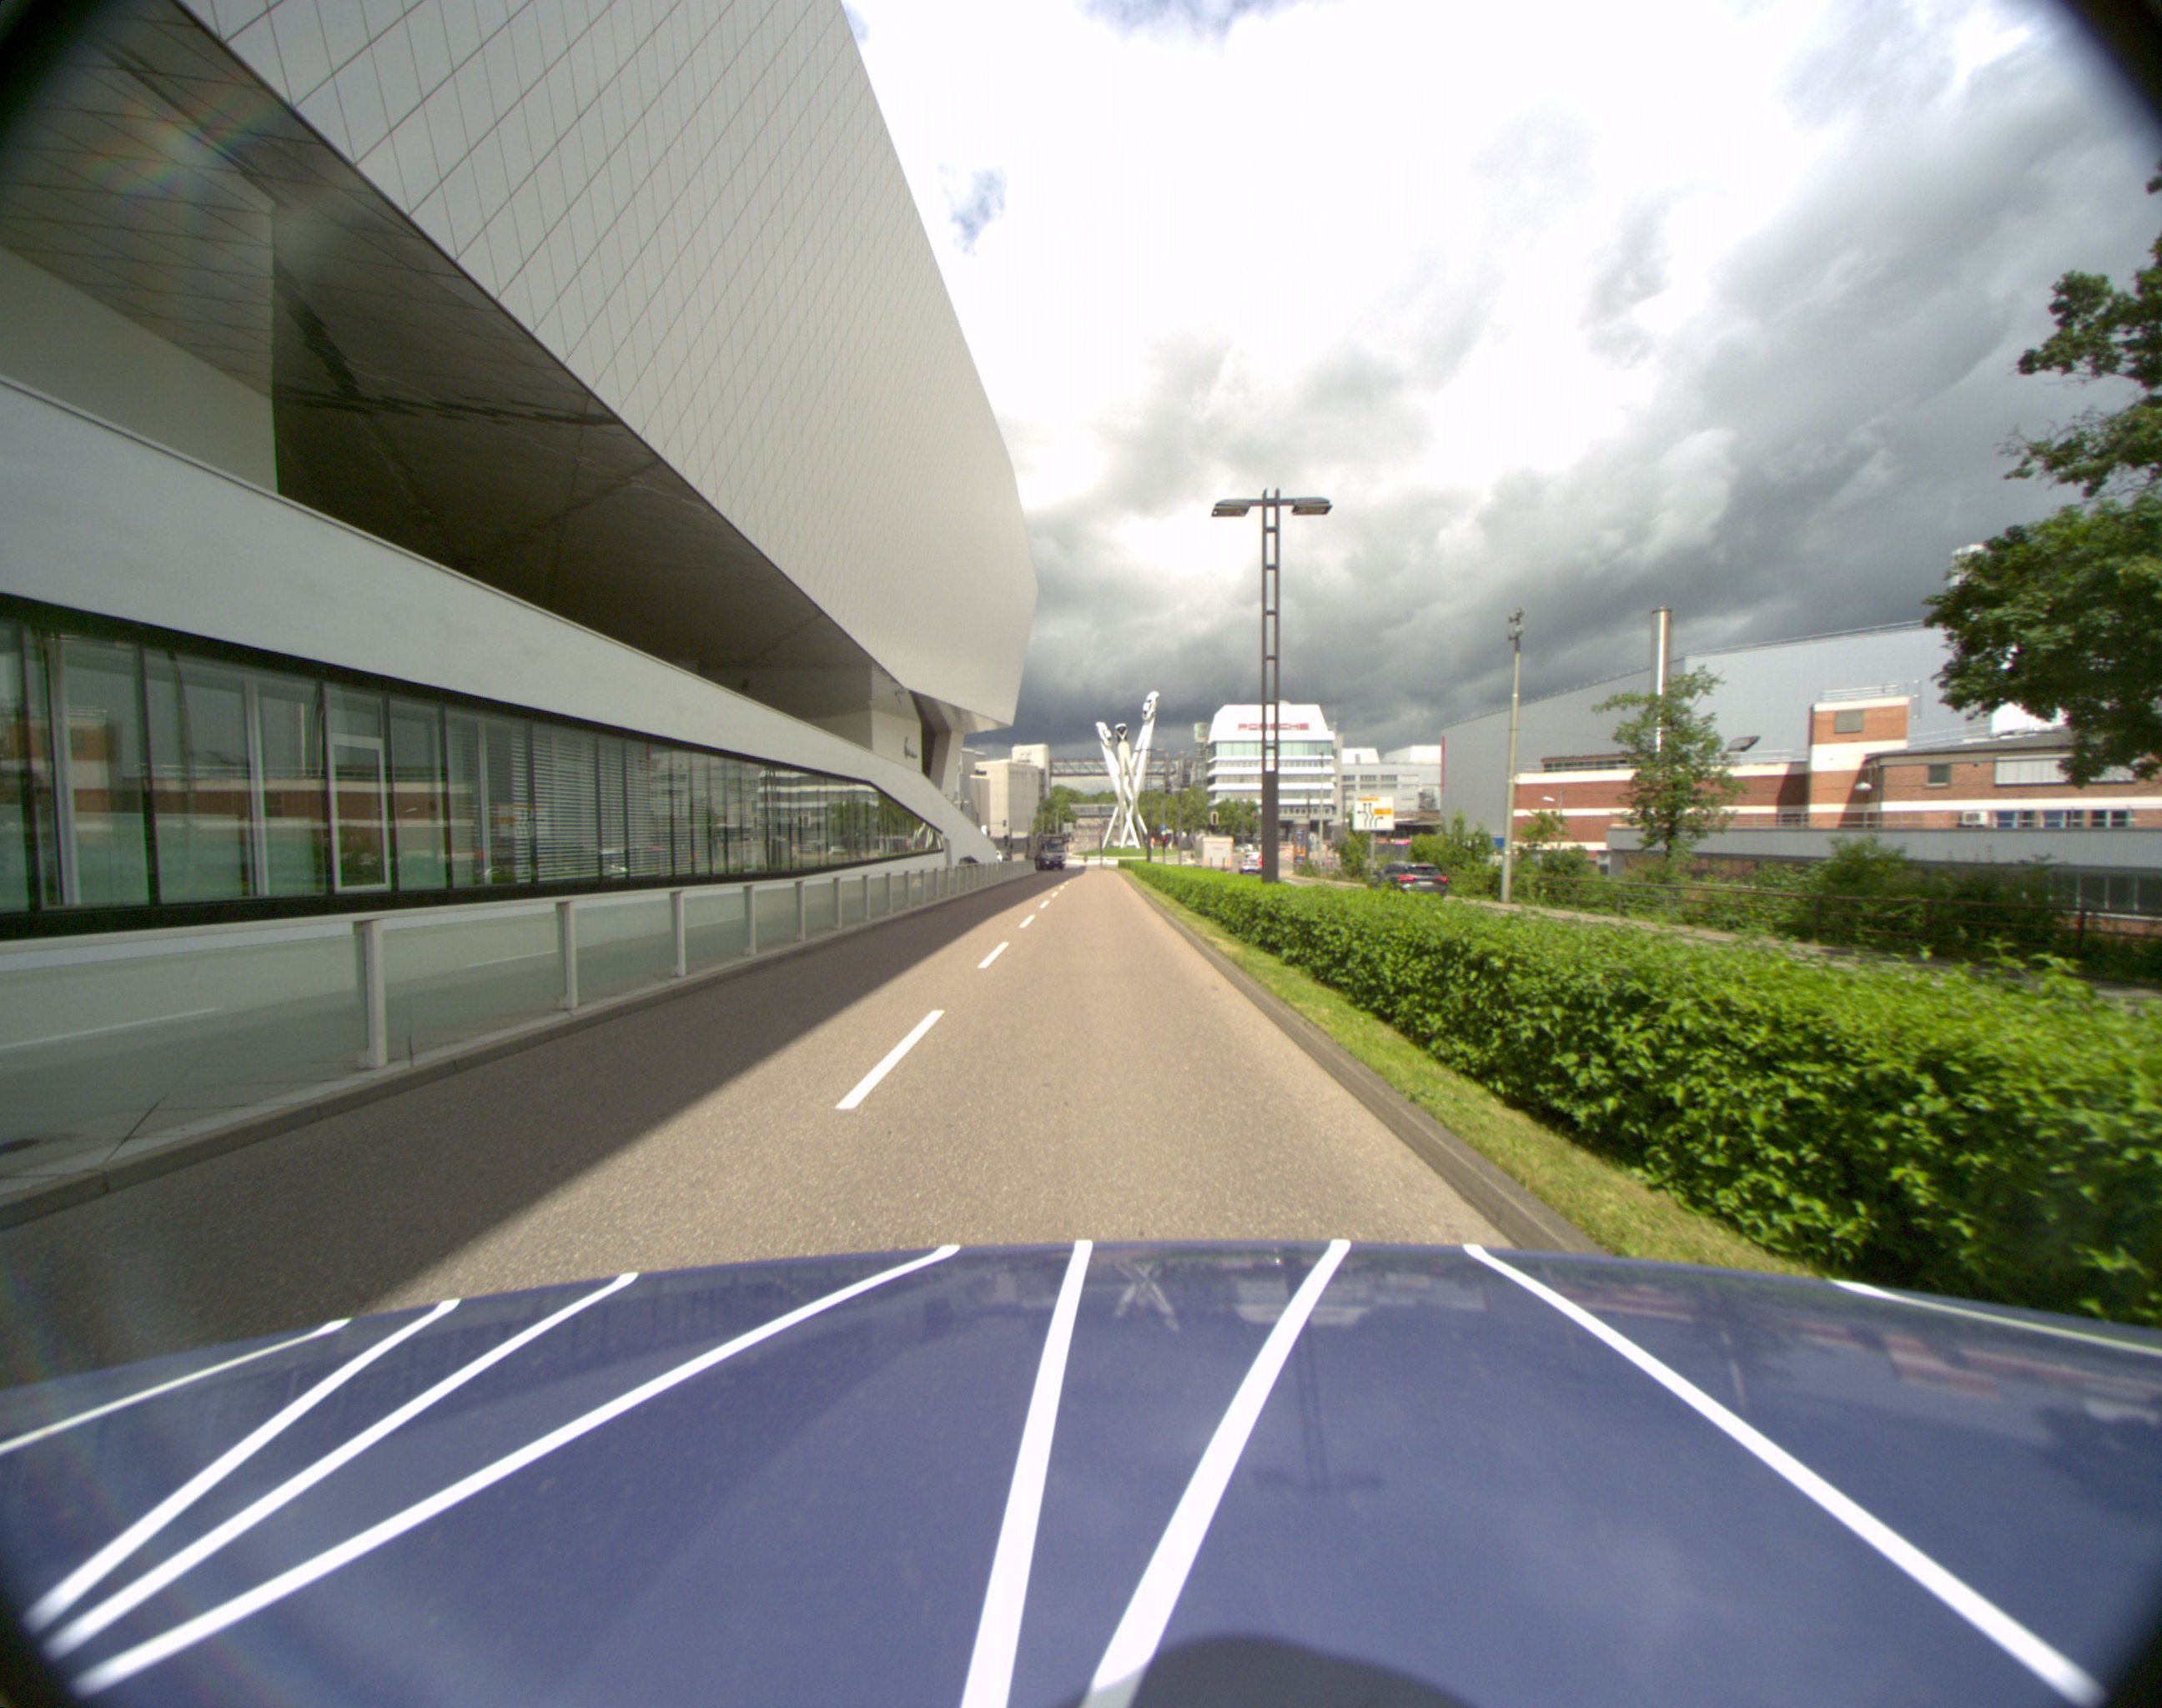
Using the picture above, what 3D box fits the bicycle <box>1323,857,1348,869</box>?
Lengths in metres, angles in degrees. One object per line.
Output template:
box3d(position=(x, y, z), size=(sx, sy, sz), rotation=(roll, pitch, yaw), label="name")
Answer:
box3d(position=(21.624, 0.786, 64.537), size=(1.950, 0.983, 0.621), rotation=(0, 0, -7), label="bicycle")

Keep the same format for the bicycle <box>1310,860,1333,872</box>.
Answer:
box3d(position=(20.997, 1.023, 66.321), size=(1.952, 0.983, 0.620), rotation=(0, 0, -23), label="bicycle")

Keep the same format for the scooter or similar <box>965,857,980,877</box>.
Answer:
box3d(position=(-7.112, 0.831, 49.898), size=(0.708, 1.236, 1.952), rotation=(-1, 1, 1), label="scooter or similar")

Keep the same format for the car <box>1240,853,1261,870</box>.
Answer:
box3d(position=(15.274, 0.644, 68.387), size=(1.799, 1.414, 4.496), rotation=(1, 1, 13), label="car")

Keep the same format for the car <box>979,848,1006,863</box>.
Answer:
box3d(position=(-11.861, 0.233, 101.654), size=(2.167, 1.899, 5.294), rotation=(-1, 1, -23), label="car")

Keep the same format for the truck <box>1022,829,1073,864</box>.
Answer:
box3d(position=(-3.837, -0.838, 83.614), size=(2.847, 3.669, 10.734), rotation=(-1, 1, -18), label="truck")

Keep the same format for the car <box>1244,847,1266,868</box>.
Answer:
box3d(position=(17.158, 0.342, 74.898), size=(1.996, 1.947, 4.632), rotation=(0, 1, 14), label="car")

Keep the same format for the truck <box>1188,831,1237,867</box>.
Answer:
box3d(position=(11.143, -0.329, 65.217), size=(2.862, 2.840, 9.380), rotation=(0, -1, 2), label="truck")

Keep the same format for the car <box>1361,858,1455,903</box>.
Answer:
box3d(position=(12.068, 0.926, 28.356), size=(1.844, 1.499, 4.562), rotation=(0, 0, 4), label="car")

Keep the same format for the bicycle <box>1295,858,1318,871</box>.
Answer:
box3d(position=(21.431, 0.988, 72.126), size=(2.041, 1.161, 0.621), rotation=(0, 1, 10), label="bicycle")
